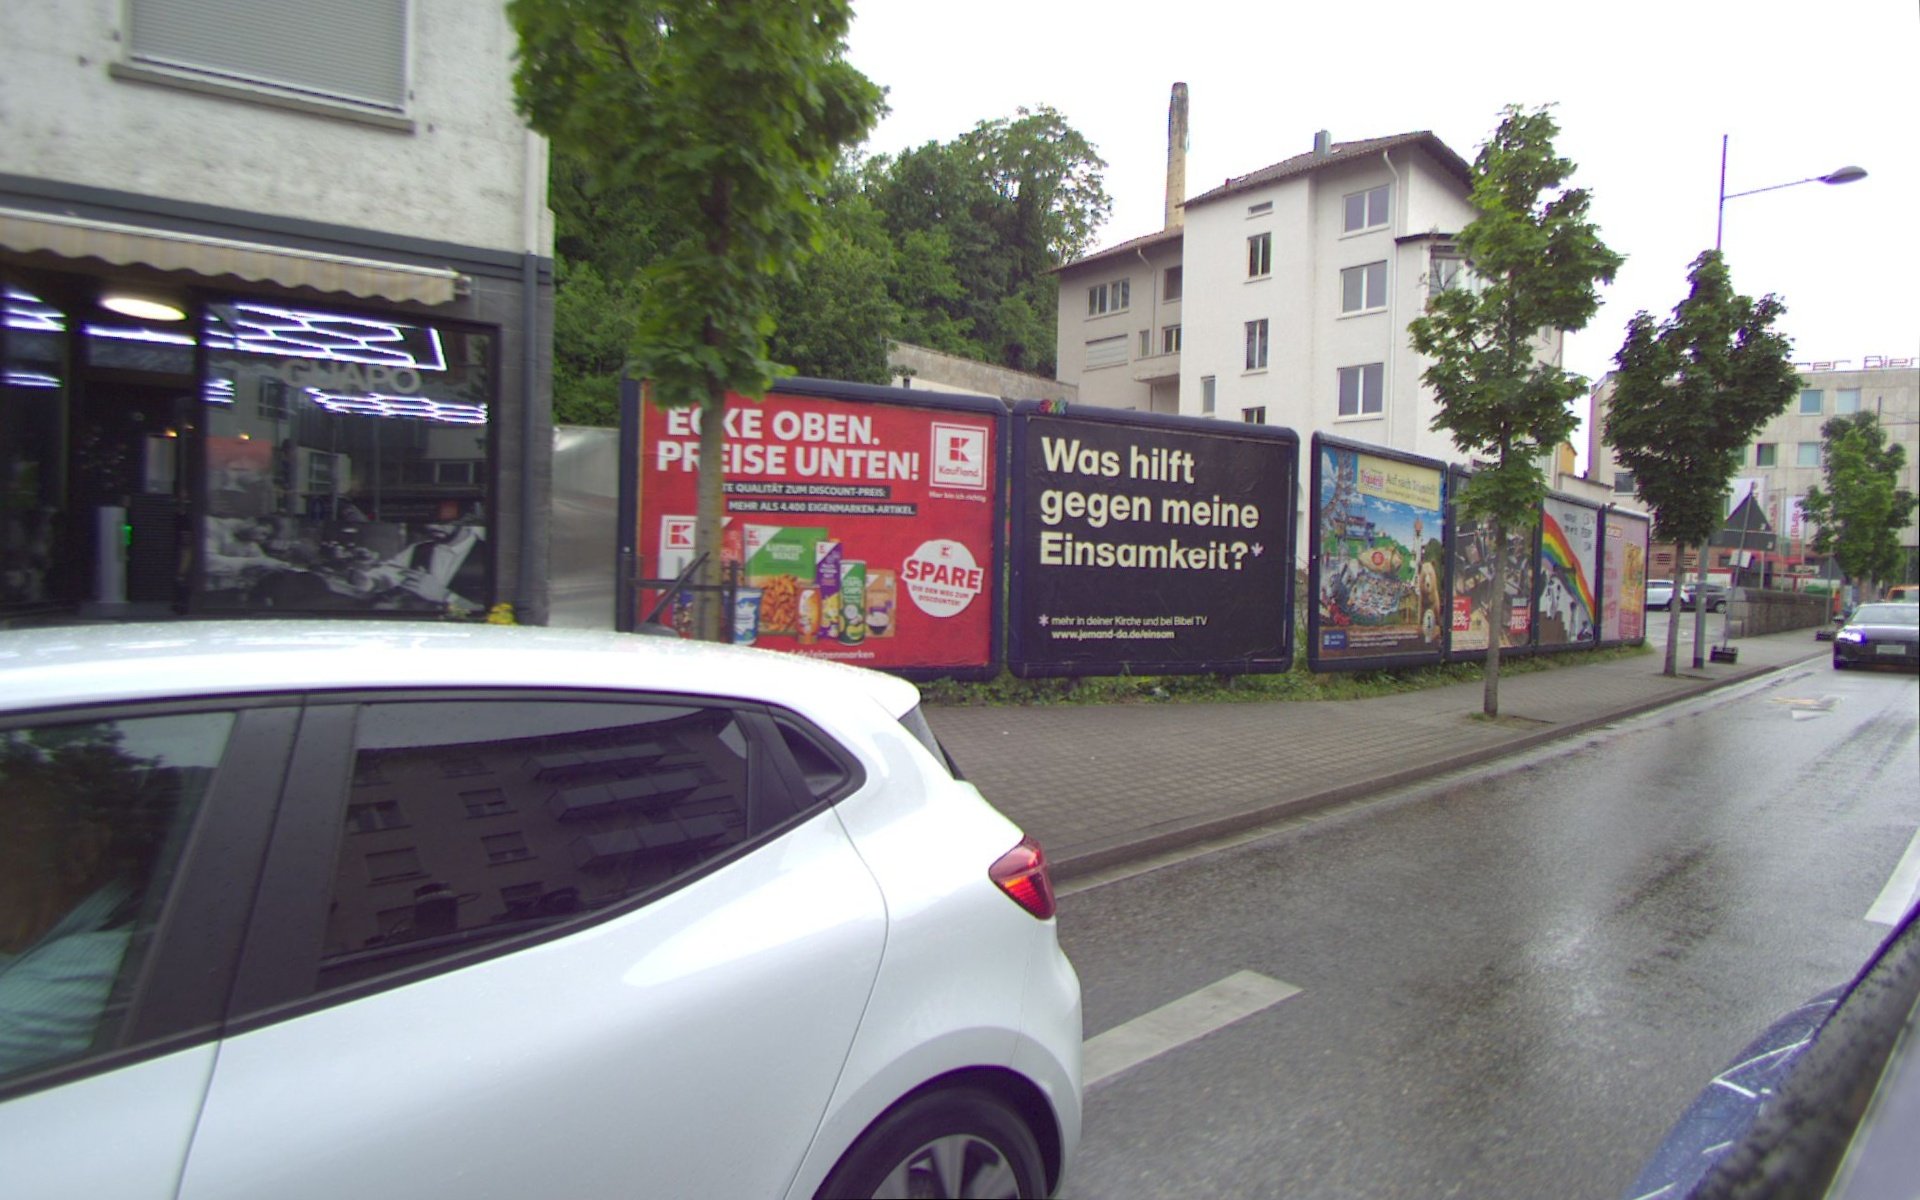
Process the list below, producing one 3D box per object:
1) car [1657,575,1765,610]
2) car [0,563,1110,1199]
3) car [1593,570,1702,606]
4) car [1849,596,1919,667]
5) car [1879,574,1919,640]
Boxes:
[{"bbox_3d":[40.275,-0.393,54.364,4.178,1.595,1.939,3,0,11],"label":"car"},{"bbox_3d":[-1.749,0.694,1.338,3.931,1.420,1.680,0,4,-42],"label":"car"},{"bbox_3d":[35.516,-0.600,52.378,4.171,1.595,1.943,3,0,6],"label":"car"},{"bbox_3d":[20.540,0.631,21.872,1.808,1.356,4.210,3,2,44],"label":"car"},{"bbox_3d":[33.186,0.180,34.452,5.832,2.111,2.196,-1,2,-42],"label":"car"}]
